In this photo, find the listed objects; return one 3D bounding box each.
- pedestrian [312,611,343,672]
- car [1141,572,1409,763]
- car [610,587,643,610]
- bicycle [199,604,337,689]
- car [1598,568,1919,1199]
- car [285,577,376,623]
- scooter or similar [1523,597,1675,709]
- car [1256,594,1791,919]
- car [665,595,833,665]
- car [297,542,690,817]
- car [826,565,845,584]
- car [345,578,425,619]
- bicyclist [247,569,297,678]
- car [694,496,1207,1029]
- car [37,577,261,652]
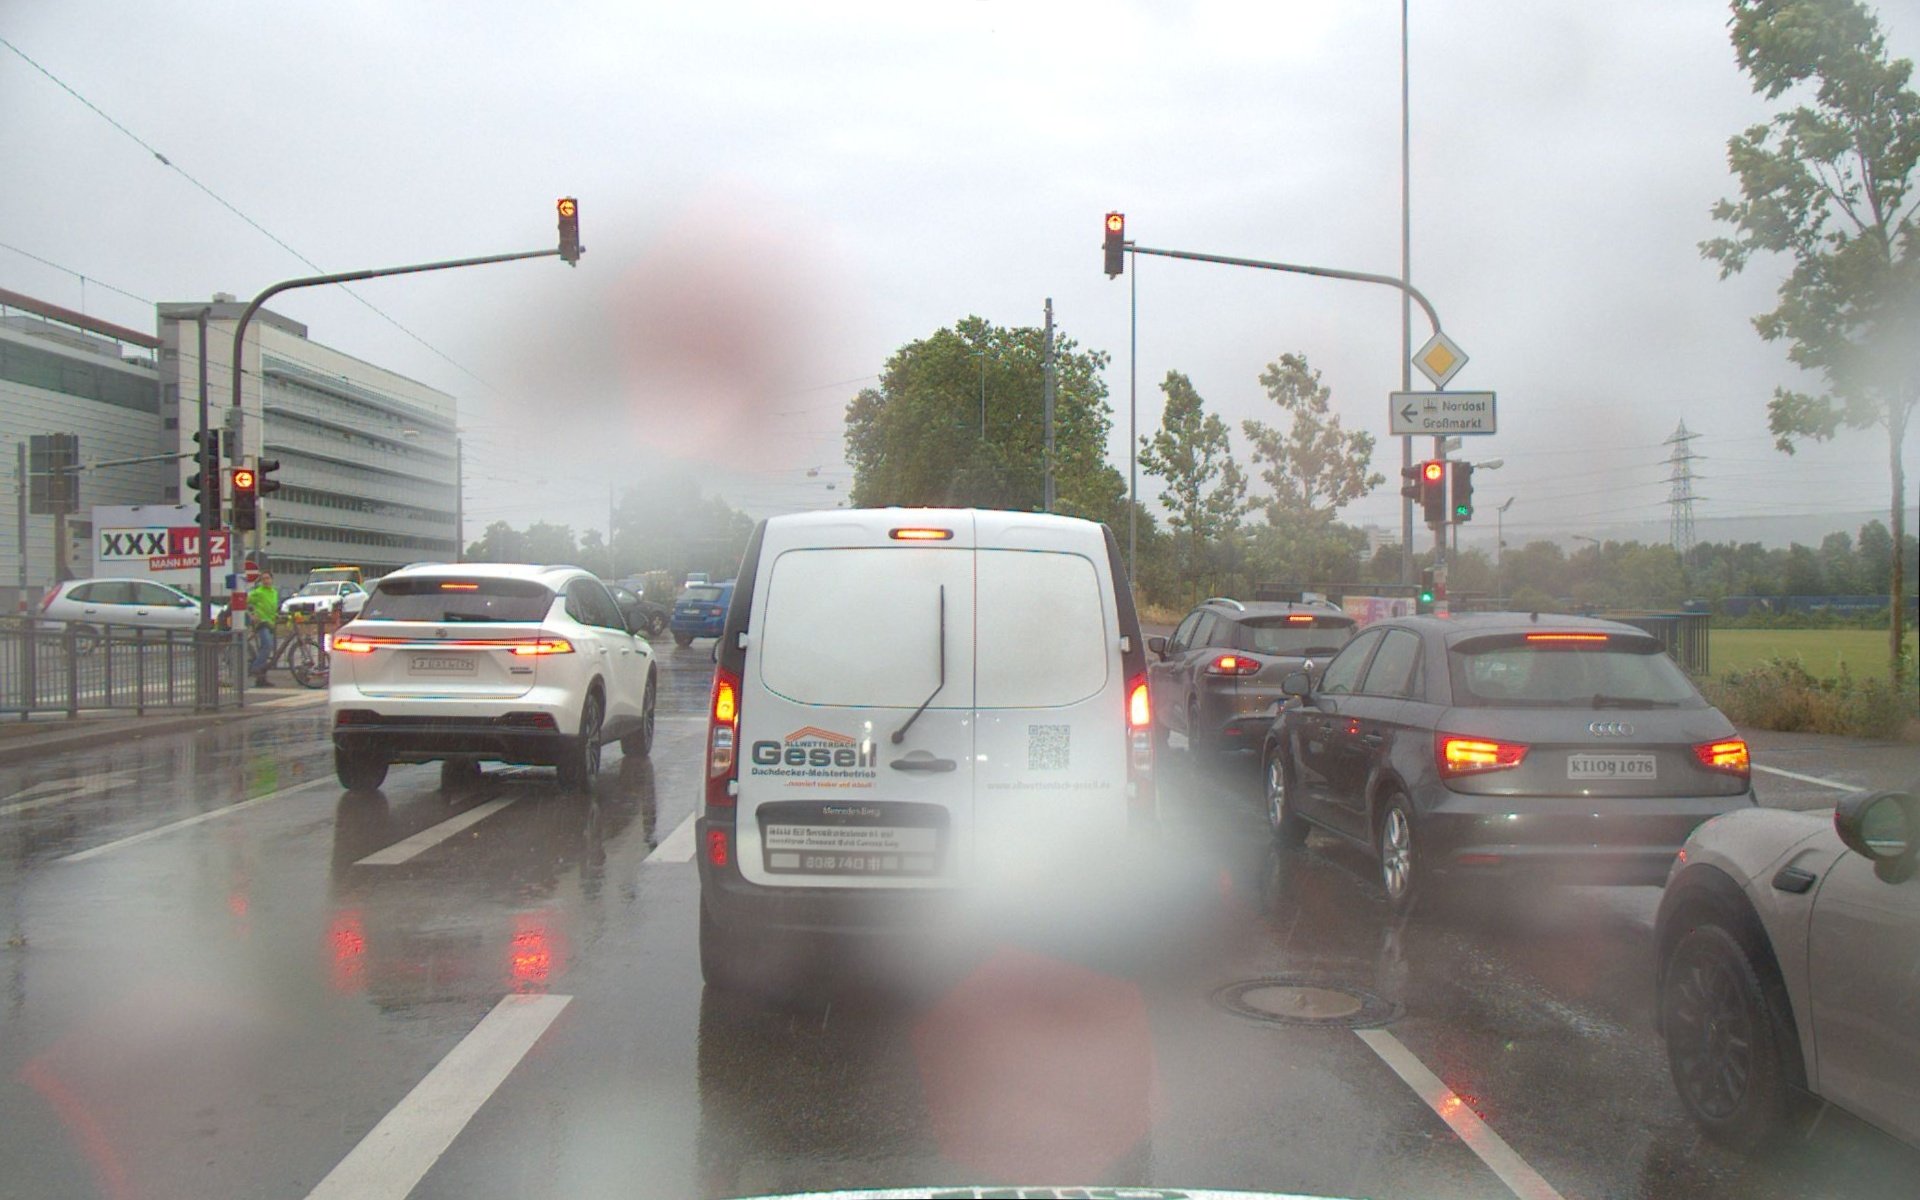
[{"bbox_3d":[-9.699,0.632,25.370,0.309,0.913,0.380,2,0,-3],"label":"pedestrian"},{"bbox_3d":[2.805,0.553,15.559,1.650,1.534,3.919,1,0,-2],"label":"car"},{"bbox_3d":[-22.668,-0.101,112.428,1.528,1.451,3.568,2,-1,-1],"label":"car"},{"bbox_3d":[-9.729,0.655,23.268,1.732,1.157,0.515,1,0,-27],"label":"bicycle"},{"bbox_3d":[2.891,0.741,3.254,1.668,1.534,3.879,3,0,-1],"label":"car"},{"bbox_3d":[-21.589,0.035,56.848,1.676,1.451,3.808,2,-1,-1],"label":"car"},{"bbox_3d":[7.635,0.591,19.943,0.676,1.232,3.020,0,0,0],"label":"scooter or similar"},{"bbox_3d":[2.784,0.711,9.022,1.565,1.390,3.629,-1,-1,-2],"label":"car"},{"bbox_3d":[-4.967,0.732,39.241,1.623,1.533,3.717,2,0,44],"label":"car"},{"bbox_3d":[-3.513,0.535,13.441,1.891,1.806,4.663,1,0,-1],"label":"car"},{"bbox_3d":[-12.822,-2.629,170.365,1.909,1.691,4.460,2,-1,-4],"label":"car"},{"bbox_3d":[-21.767,-0.029,62.752,1.676,1.451,3.808,2,-1,-1],"label":"car"},{"bbox_3d":[-9.710,0.327,23.345,0.596,1.517,0.595,1,0,-26],"label":"bicyclist"},{"bbox_3d":[-0.174,0.519,7.677,1.719,1.780,4.166,1,1,-4],"label":"car"},{"bbox_3d":[-17.486,0.323,35.699,4.196,1.452,1.633,3,0,-31],"label":"car"}]
